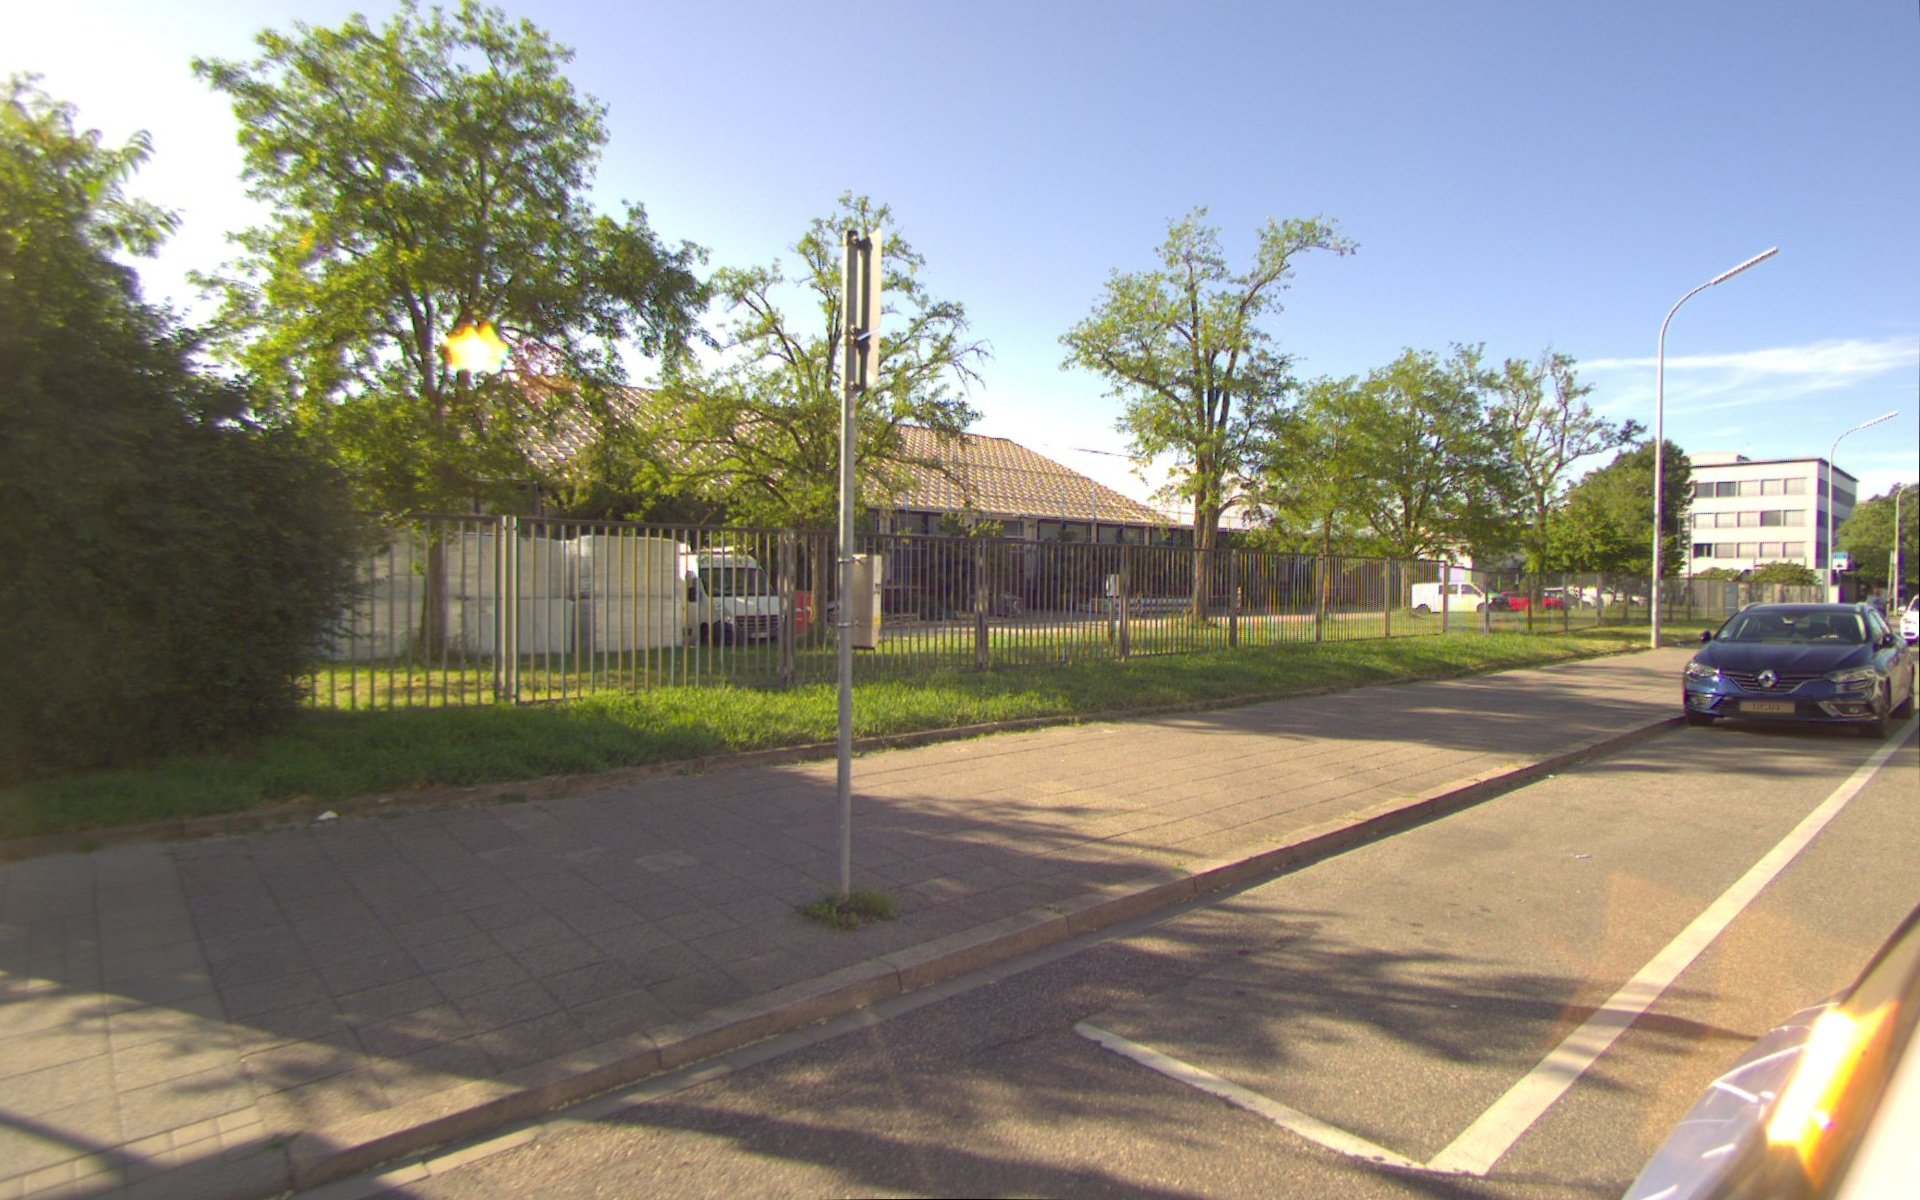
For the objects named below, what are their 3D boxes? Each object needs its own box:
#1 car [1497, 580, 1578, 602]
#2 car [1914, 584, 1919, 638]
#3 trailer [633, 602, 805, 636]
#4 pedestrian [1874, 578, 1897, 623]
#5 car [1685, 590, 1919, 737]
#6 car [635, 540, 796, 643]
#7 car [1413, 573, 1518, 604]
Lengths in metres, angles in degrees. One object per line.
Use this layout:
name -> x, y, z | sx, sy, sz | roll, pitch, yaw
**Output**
car -> 36.548, -0.546, 64.077 | 1.798, 1.268, 4.144 | -1, 0, -44
car -> 30.663, 0.299, 31.059 | 4.192, 1.608, 1.814 | -1, 0, -44
trailer -> -7.609, 0.558, 32.177 | 5.011, 0.931, 1.904 | -1, 1, -34
pedestrian -> 34.123, 0.003, 37.304 | 0.671, 1.632, 0.540 | -1, 0, -41
car -> 10.408, 0.616, 12.214 | 4.141, 1.471, 1.821 | -1, 1, -41
car -> -6.111, -0.220, 24.740 | 1.962, 2.230, 5.301 | 1, 0, -36
car -> 28.926, -0.639, 57.996 | 2.061, 1.665, 4.968 | -1, 0, -44
